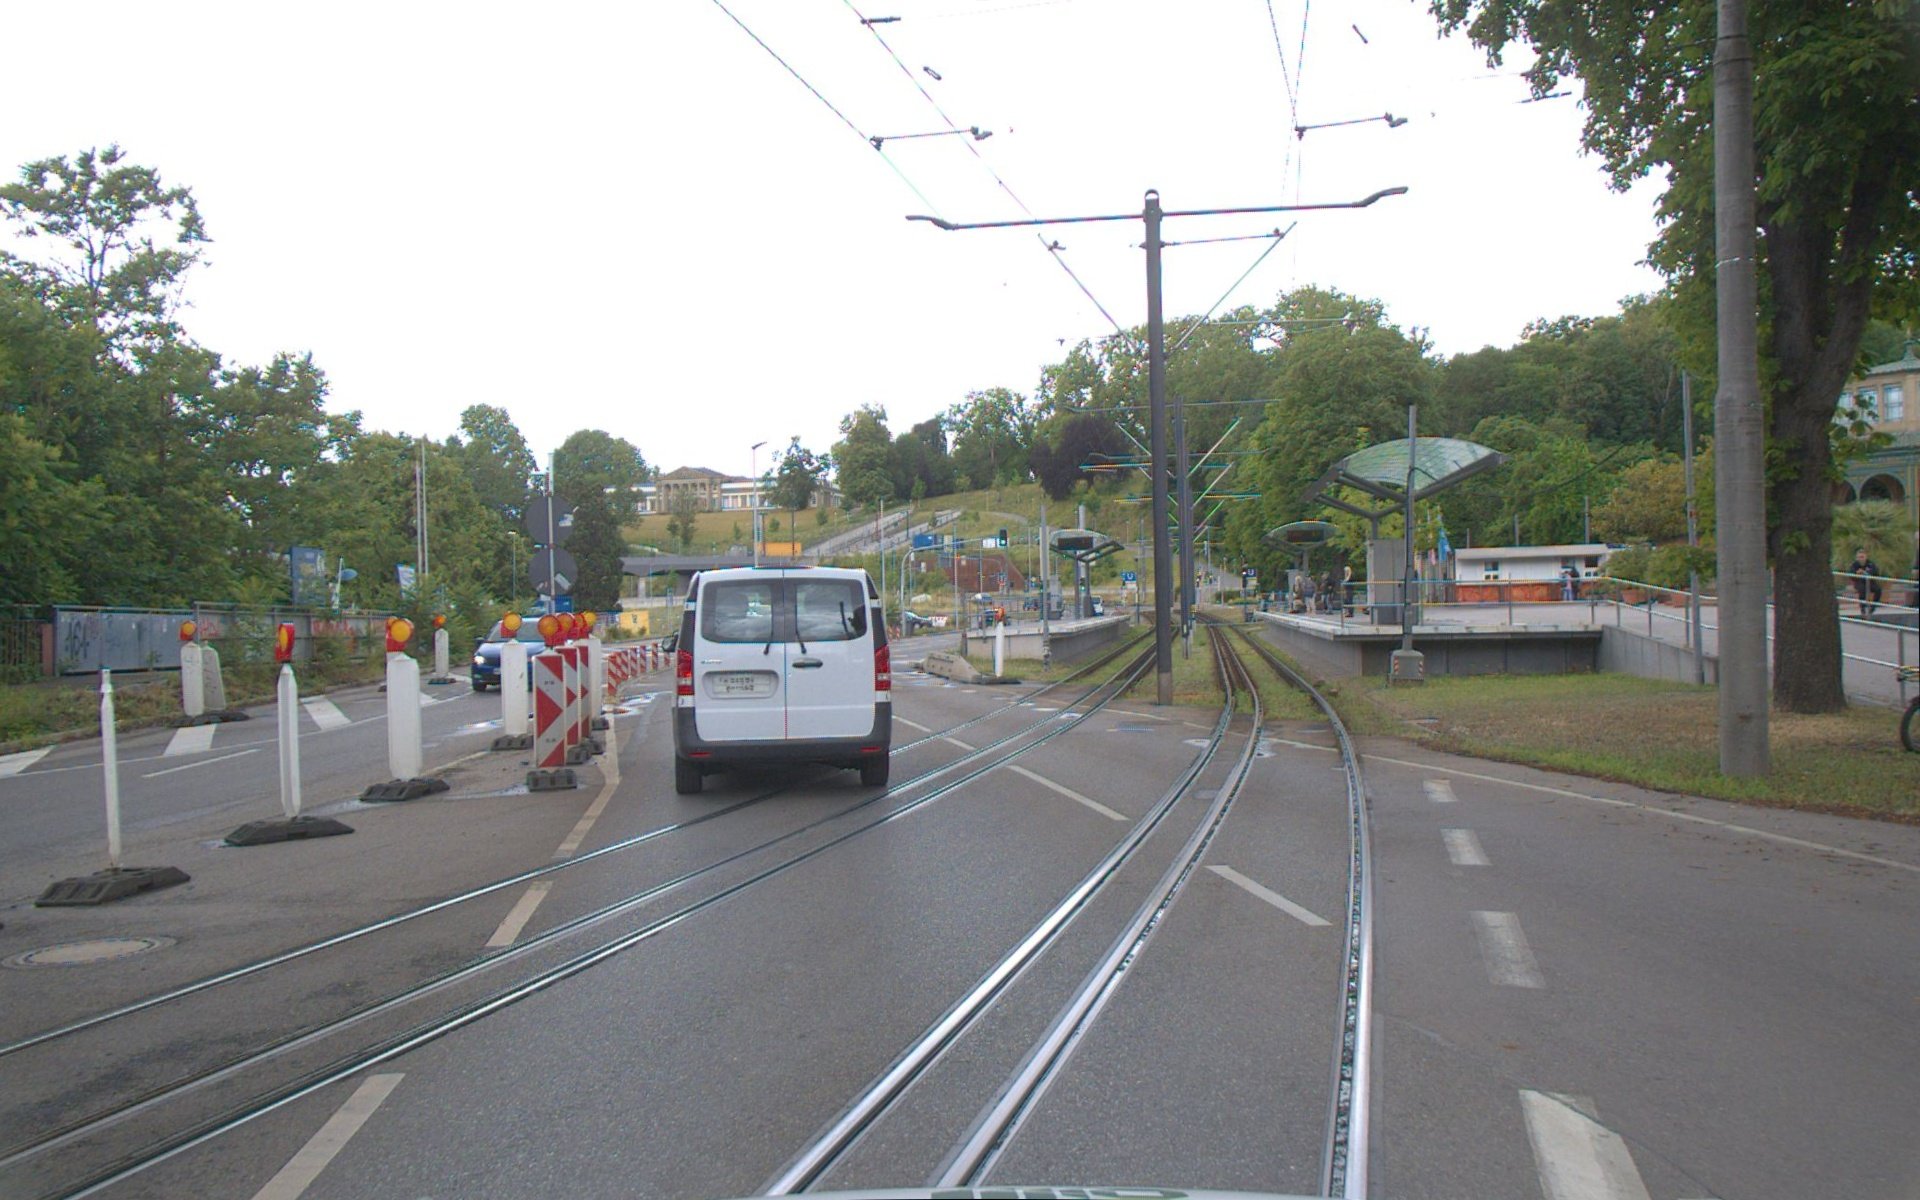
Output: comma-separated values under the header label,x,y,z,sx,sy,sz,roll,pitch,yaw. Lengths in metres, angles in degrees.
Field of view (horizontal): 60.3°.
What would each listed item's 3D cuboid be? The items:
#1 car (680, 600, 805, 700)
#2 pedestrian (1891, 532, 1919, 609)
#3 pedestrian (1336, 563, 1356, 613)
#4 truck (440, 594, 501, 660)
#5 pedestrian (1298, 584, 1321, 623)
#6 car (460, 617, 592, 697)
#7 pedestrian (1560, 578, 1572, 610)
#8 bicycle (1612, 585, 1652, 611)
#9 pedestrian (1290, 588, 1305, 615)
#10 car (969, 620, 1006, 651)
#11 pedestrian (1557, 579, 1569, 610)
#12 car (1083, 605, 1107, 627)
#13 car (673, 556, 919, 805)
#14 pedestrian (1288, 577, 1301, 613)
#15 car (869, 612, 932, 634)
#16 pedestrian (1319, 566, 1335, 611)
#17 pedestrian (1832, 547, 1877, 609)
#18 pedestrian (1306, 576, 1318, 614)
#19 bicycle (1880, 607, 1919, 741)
label,x,y,z,sx,sy,sz,roll,pitch,yaw
car,-4.037,0.916,31.262,1.801,1.759,4.062,-1,-1,0
pedestrian,23.566,-0.724,40.786,0.936,1.870,0.546,-1,-2,45
pedestrian,13.438,-0.398,57.622,0.619,1.717,0.867,0,-1,8
truck,-27.600,1.528,93.025,2.751,3.394,8.430,-3,0,-19
pedestrian,15.465,0.157,73.191,0.842,1.706,0.761,0,-1,-2
car,-9.159,1.166,35.197,1.660,1.487,3.913,-3,0,1
pedestrian,29.585,-0.292,80.792,0.475,1.562,0.460,0,-1,11
bicycle,28.747,-0.070,70.742,0.554,1.080,1.704,1,-1,-22
pedestrian,15.110,0.070,74.053,0.643,1.212,0.676,0,-1,10
car,1.663,2.130,98.465,1.951,1.803,4.002,0,-1,4
pedestrian,29.275,-0.277,80.328,0.475,1.513,0.460,0,-1,11
car,13.064,1.525,160.030,2.154,2.049,5.153,-1,-1,3
car,-1.675,0.663,15.345,1.923,1.937,4.450,-1,-1,-10
pedestrian,15.719,-0.227,77.780,0.532,1.706,0.676,0,-1,5
car,-4.824,1.833,133.848,4.611,1.503,2.001,-3,0,19
pedestrian,15.407,-0.461,69.409,0.619,1.870,0.951,0,-1,10
pedestrian,17.909,-0.431,33.135,0.536,1.222,0.669,0,-1,2
pedestrian,15.374,-0.222,72.254,0.513,1.648,0.676,0,-1,10
bicycle,9.429,0.620,14.770,1.949,1.178,0.741,-2,-1,13
